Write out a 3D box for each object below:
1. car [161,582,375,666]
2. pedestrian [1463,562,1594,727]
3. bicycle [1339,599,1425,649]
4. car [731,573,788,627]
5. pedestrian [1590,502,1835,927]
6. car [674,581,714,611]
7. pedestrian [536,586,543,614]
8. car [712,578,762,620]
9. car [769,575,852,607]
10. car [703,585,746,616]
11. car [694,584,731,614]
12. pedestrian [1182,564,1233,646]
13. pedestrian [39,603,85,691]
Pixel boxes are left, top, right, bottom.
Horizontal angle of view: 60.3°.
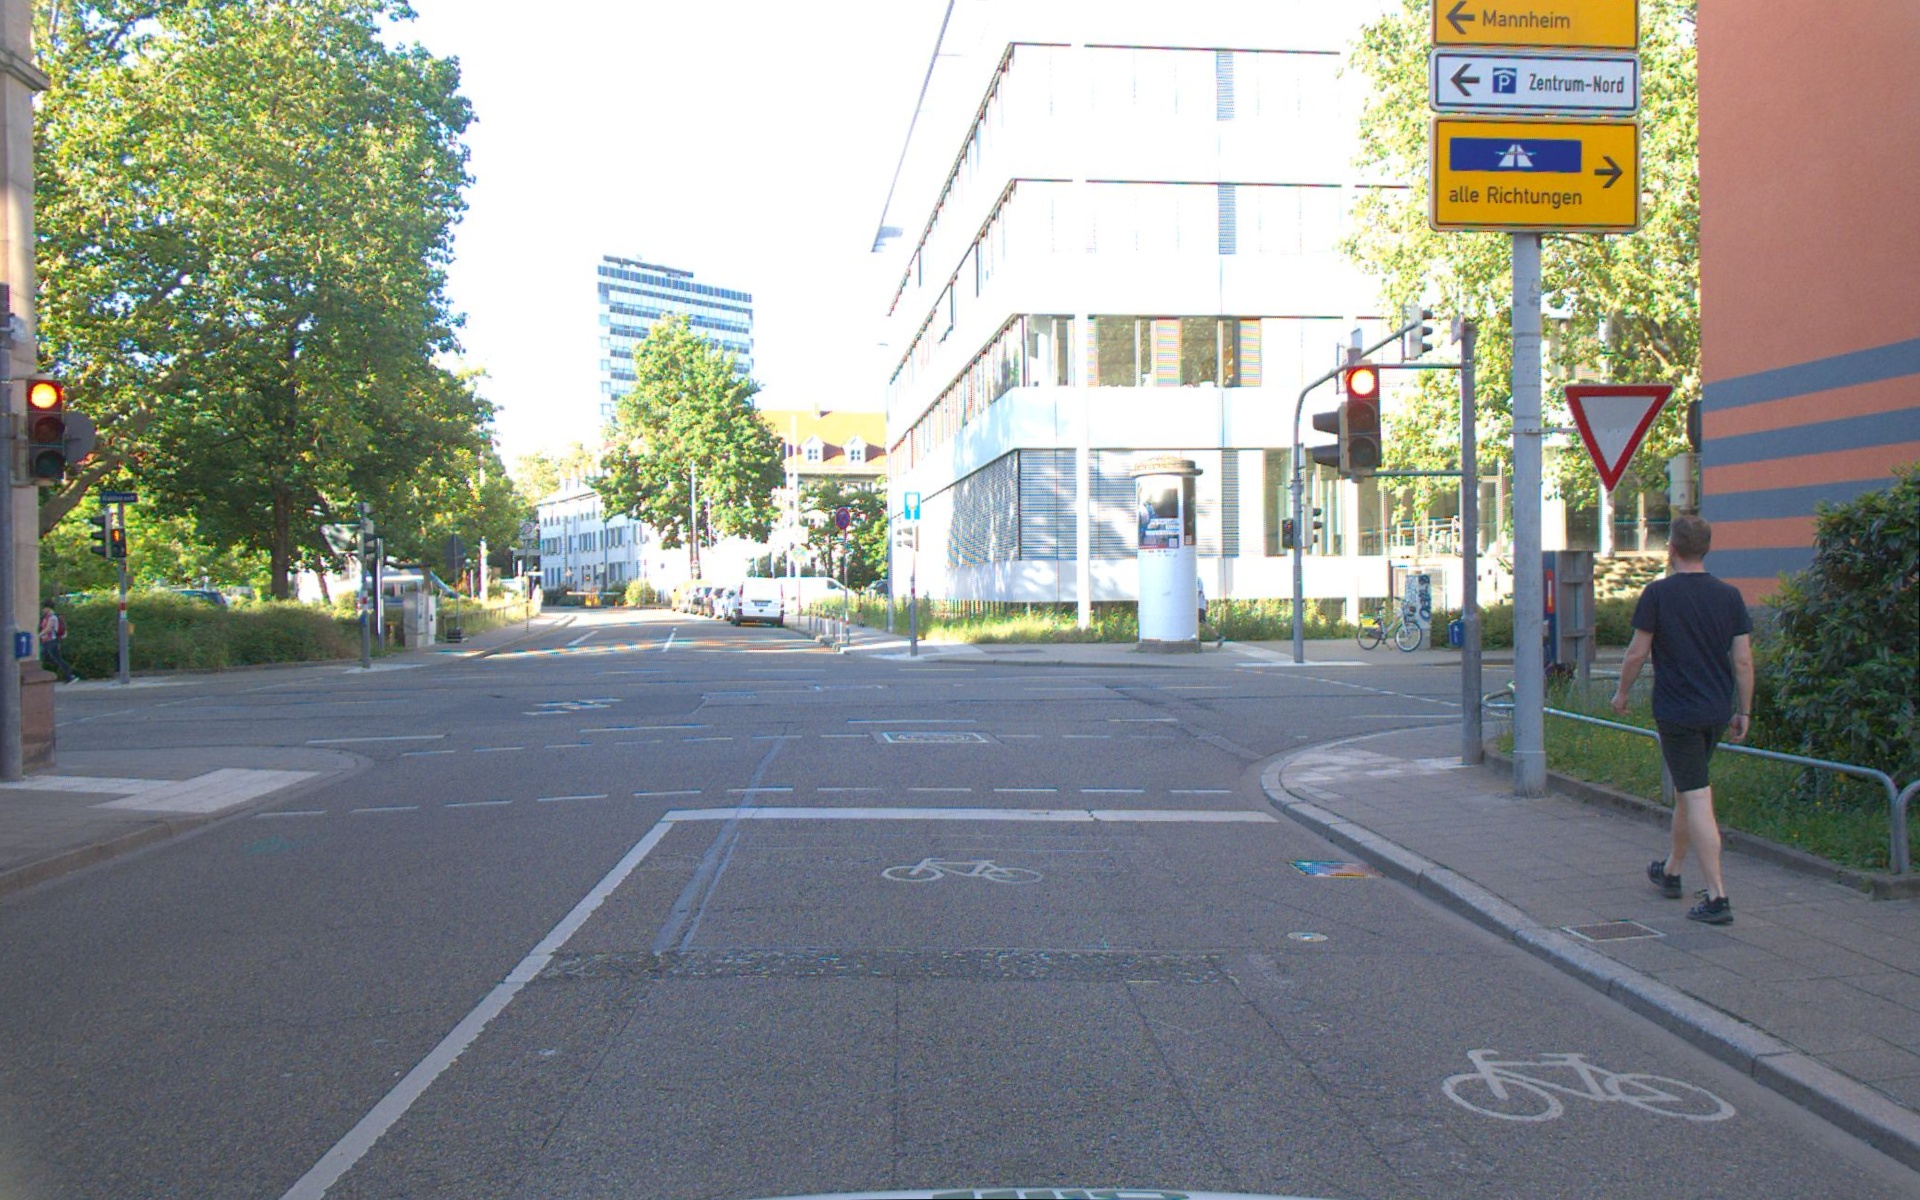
[{"bbox_3d":[-15.766,0.523,37.895,4.146,1.808,1.901,-1,0,-9],"label":"car"},{"bbox_3d":[5.832,0.457,16.985,0.744,1.600,0.943,-4,0,-41],"label":"pedestrian"},{"bbox_3d":[9.222,0.523,36.237,0.460,1.067,1.886,-1,0,-42],"label":"bicycle"},{"bbox_3d":[-7.862,-0.026,64.512,2.029,1.997,4.229,-1,0,-9],"label":"car"},{"bbox_3d":[3.459,0.496,7.680,0.631,1.819,0.916,-4,0,2],"label":"pedestrian"},{"bbox_3d":[-15.376,-0.245,95.417,2.063,1.687,4.463,-1,1,-11],"label":"car"},{"bbox_3d":[-23.597,-0.016,92.869,0.373,1.561,0.444,-1,0,-13],"label":"pedestrian"},{"bbox_3d":[-10.327,-0.065,76.282,1.913,1.826,4.224,-1,1,-13],"label":"car"},{"bbox_3d":[-9.284,-0.531,102.630,4.804,1.905,1.990,1,-1,-17],"label":"car"},{"bbox_3d":[-11.562,0.025,81.143,1.675,1.449,4.223,-1,1,-14],"label":"car"},{"bbox_3d":[-12.848,-0.066,85.632,1.674,1.490,4.226,-1,1,-11],"label":"car"},{"bbox_3d":[5.667,0.113,37.900,1.020,1.863,0.537,-1,0,-14],"label":"pedestrian"},{"bbox_3d":[-16.975,0.879,31.271,0.705,1.627,0.610,-1,0,-33],"label":"pedestrian"}]
